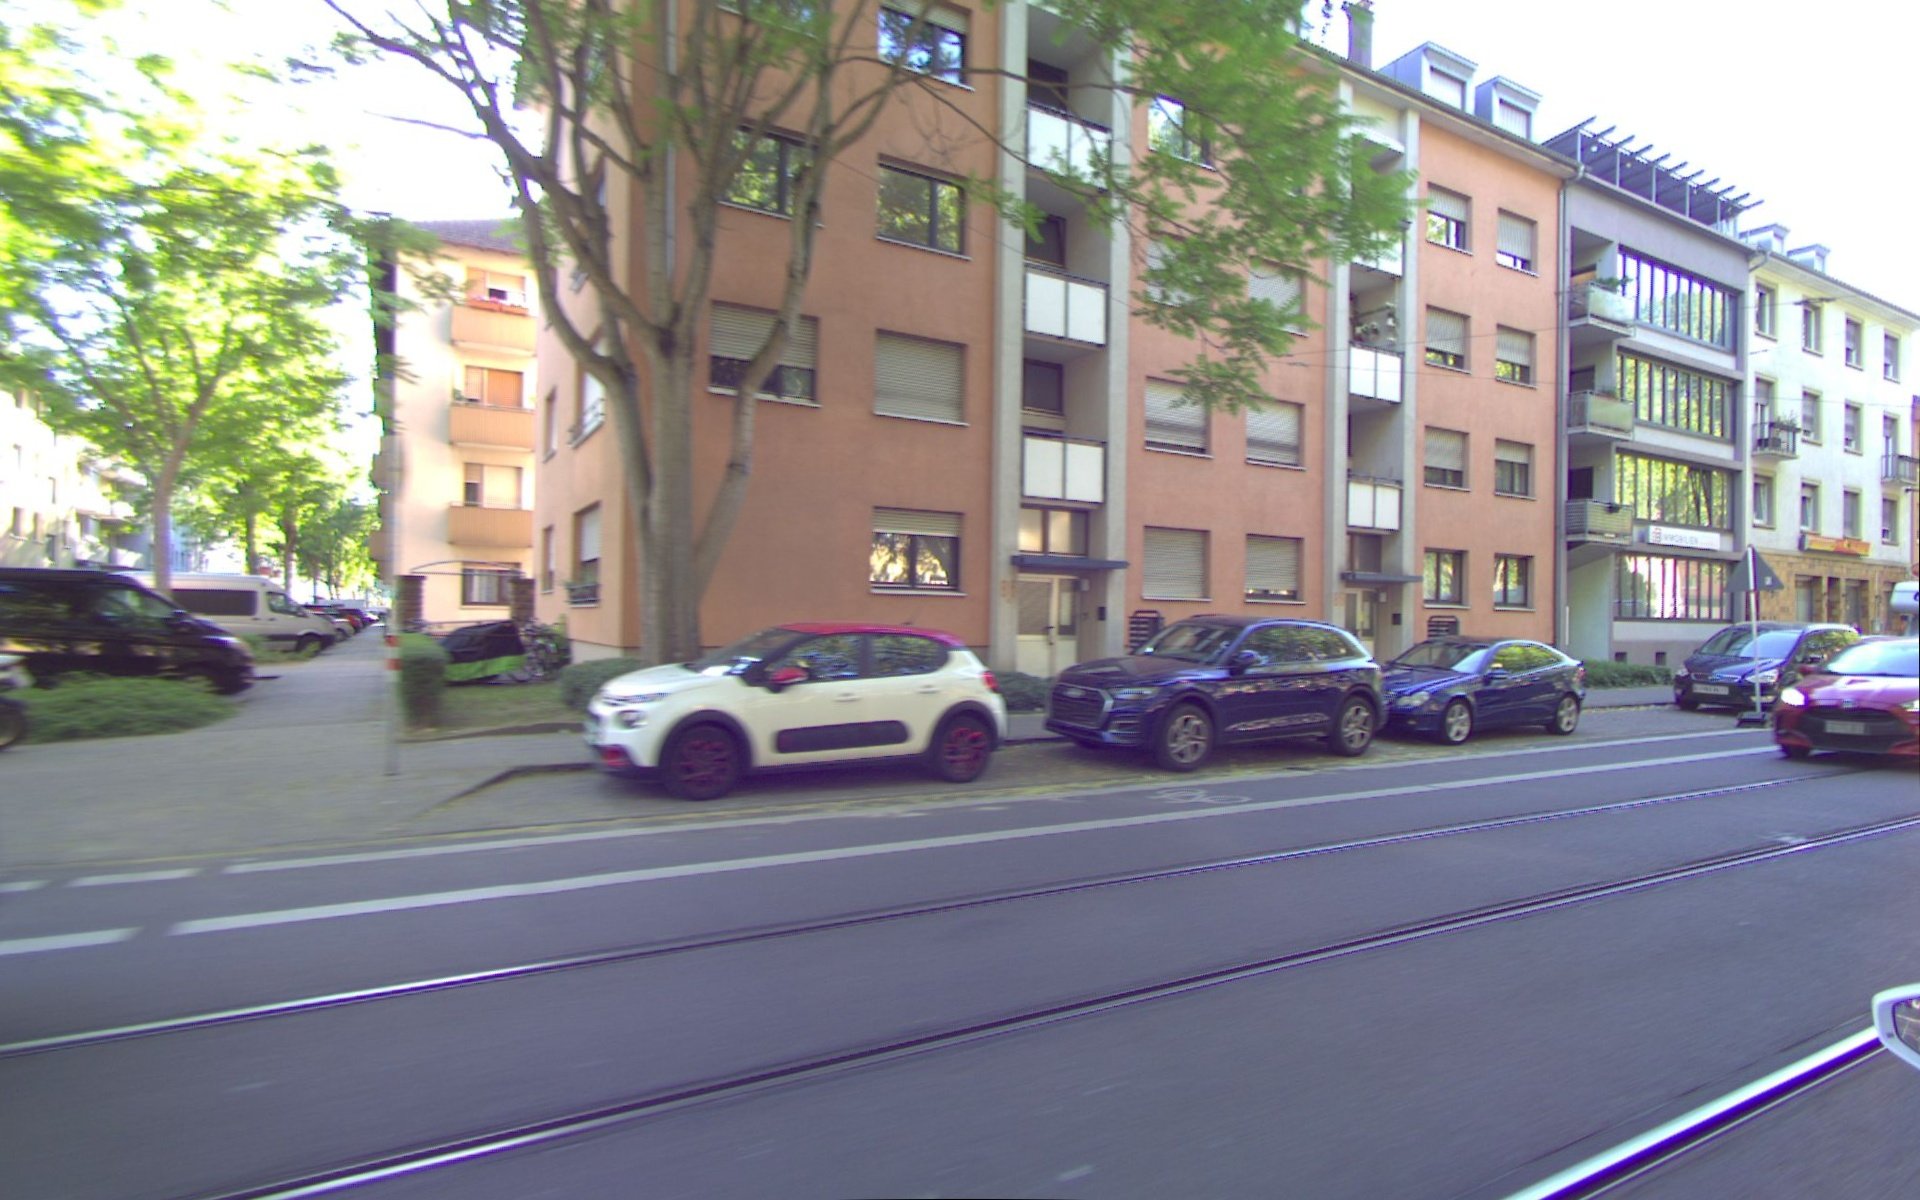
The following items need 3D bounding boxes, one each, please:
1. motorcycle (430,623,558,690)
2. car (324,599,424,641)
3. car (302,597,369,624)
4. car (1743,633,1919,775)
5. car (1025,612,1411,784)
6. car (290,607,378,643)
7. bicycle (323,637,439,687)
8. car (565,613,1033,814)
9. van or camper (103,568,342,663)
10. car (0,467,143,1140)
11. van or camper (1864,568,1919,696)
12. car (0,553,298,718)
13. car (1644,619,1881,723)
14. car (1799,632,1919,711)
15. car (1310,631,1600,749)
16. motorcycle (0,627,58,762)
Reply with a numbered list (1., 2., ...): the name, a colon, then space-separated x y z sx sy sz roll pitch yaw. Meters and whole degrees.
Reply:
1. motorcycle: -8.423 1.008 18.190 2.042 1.144 0.691 1 -1 -31
2. car: -29.603 1.006 50.874 1.797 2.040 3.987 0 -1 35
3. car: -48.498 0.843 78.068 1.963 2.040 3.995 0 -1 28
4. car: 11.448 1.146 12.116 4.153 1.477 1.767 1 -2 -30
5. car: 3.162 1.039 12.021 4.535 1.632 1.772 1 2 -31
6. car: -36.466 1.461 58.577 1.793 2.040 3.995 0 -1 28
7. bicycle: -10.852 1.155 18.875 1.848 0.883 0.605 1 -1 -30
8. car: -1.495 0.954 9.606 4.040 1.498 1.798 2 1 -29
9. van or camper: -22.642 0.496 31.154 2.217 2.664 5.539 0 -1 29
10. car: -5.081 0.527 2.181 4.838 1.856 1.882 1 -1 -31
11. van or camper: 26.122 0.851 25.768 6.320 3.082 2.327 1 2 -29
12. car: -12.704 0.482 14.614 1.965 2.151 4.712 1 -1 32
13. car: 15.578 1.289 19.430 5.013 1.709 1.942 1 1 -31
14. car: 20.612 1.543 22.421 3.818 1.508 1.701 1 2 -31
15. car: 7.310 1.222 14.728 4.333 1.419 1.729 1 1 -31
16. motorcycle: -10.341 0.950 9.666 2.322 1.298 0.897 -1 0 -33
